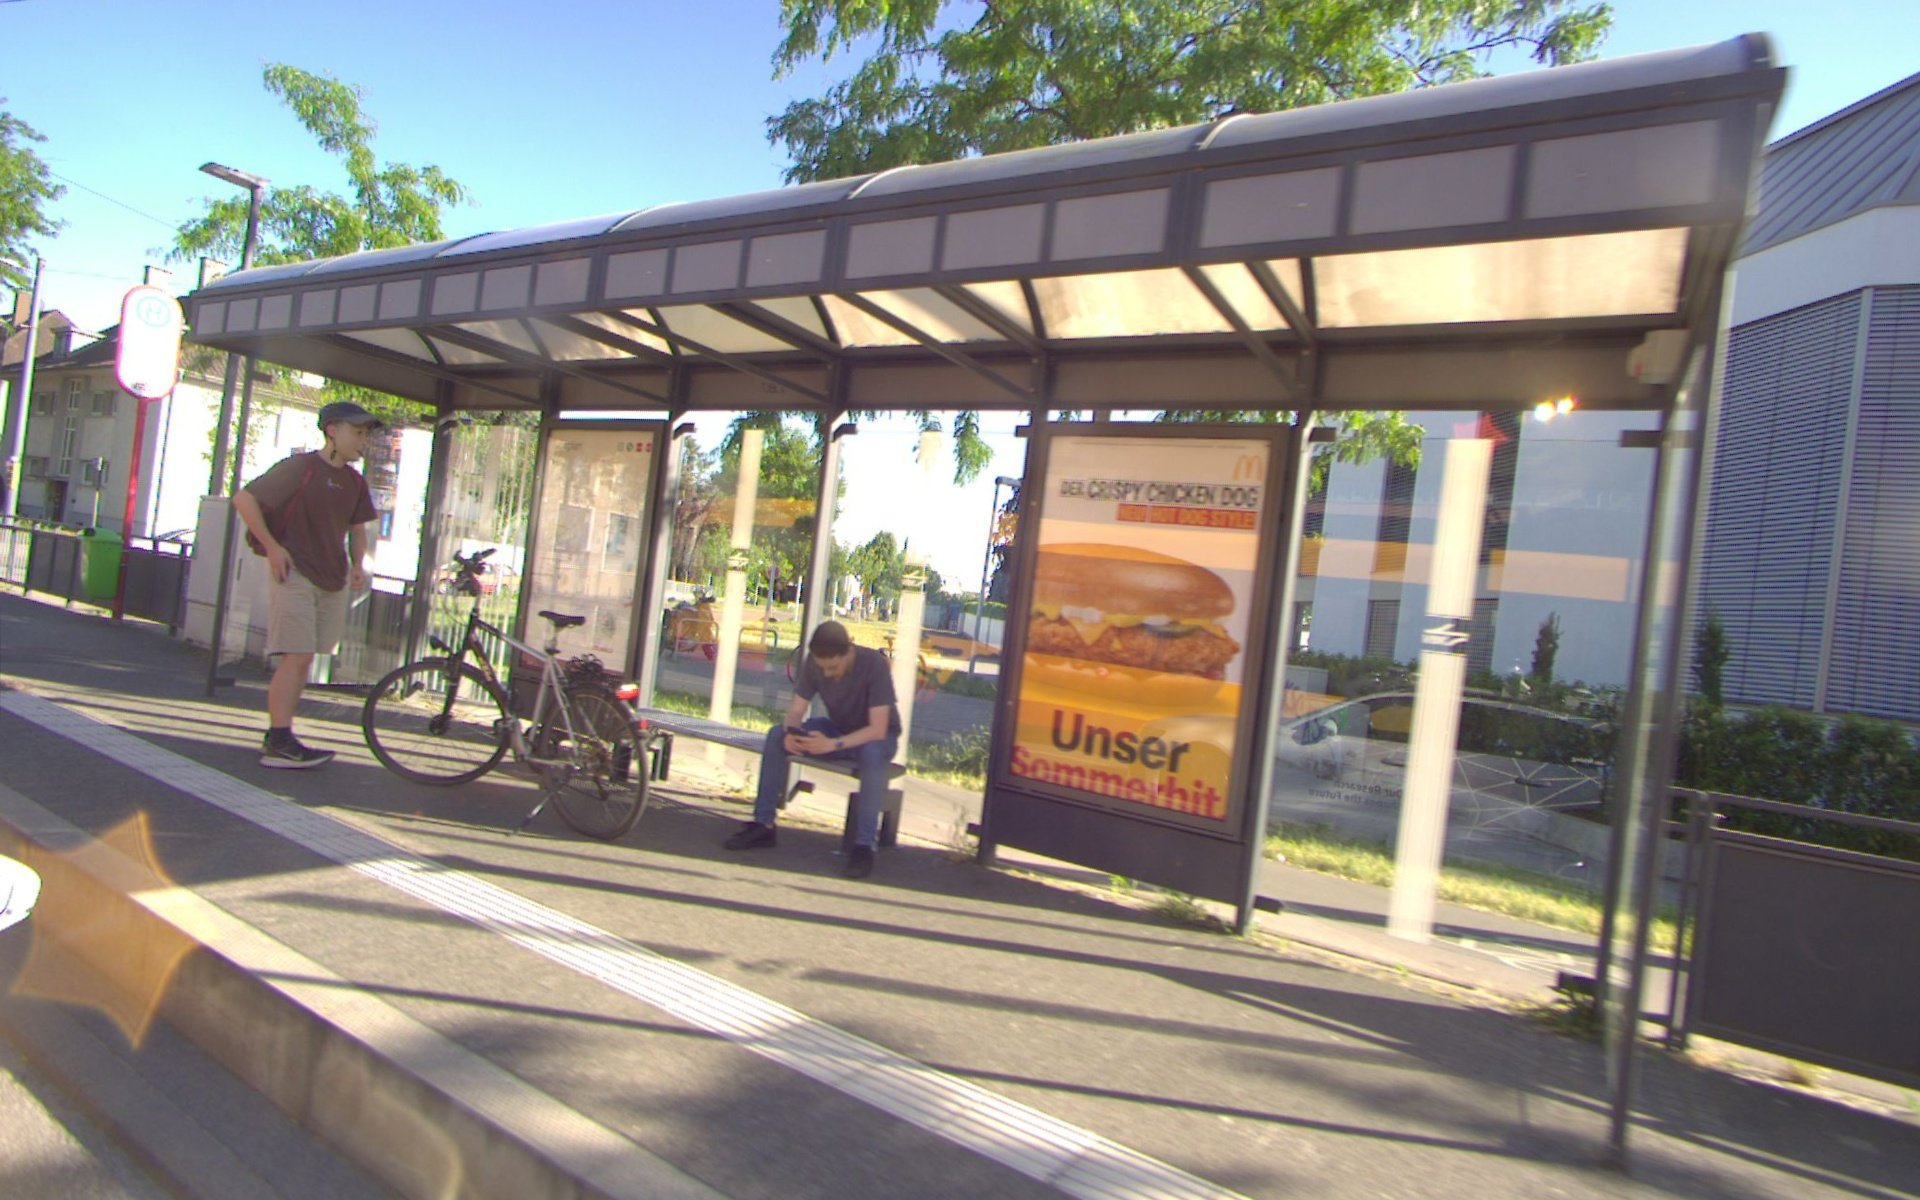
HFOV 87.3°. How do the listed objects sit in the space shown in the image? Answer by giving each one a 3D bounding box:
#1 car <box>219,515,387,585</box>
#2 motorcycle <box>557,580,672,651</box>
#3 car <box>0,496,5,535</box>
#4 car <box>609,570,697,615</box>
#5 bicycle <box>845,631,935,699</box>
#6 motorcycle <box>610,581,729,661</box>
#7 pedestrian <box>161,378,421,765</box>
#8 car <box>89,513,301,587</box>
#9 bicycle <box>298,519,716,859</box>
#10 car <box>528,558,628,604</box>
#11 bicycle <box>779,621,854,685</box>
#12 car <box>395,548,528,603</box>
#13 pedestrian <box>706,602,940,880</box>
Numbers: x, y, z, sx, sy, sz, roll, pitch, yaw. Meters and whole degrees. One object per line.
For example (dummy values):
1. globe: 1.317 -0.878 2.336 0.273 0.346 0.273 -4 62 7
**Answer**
1. car: -21.886 -1.627 33.696 1.948 1.661 4.172 7 -2 30
2. motorcycle: -6.647 0.332 19.471 0.847 1.171 2.004 7 -1 25
3. car: -26.644 -2.182 24.991 1.954 1.525 3.983 6 -2 41
4. car: -15.027 -0.349 49.468 1.963 1.591 4.005 8 -2 19
5. bicycle: -1.100 1.057 16.305 0.482 0.990 1.903 7 -1 25
6. motorcycle: -5.342 0.413 18.671 0.847 1.289 2.083 7 -1 25
7. pedestrian: -3.523 -0.135 5.320 0.717 1.875 0.712 7 -1 33
8. car: -22.163 -1.400 29.274 1.956 1.483 4.595 4 -3 43
9. bicycle: -2.179 0.349 4.760 1.932 1.244 0.621 7 -1 28
10. car: -16.876 -0.808 44.664 1.944 1.525 4.180 7 -2 14
11. bicycle: -2.403 0.908 17.007 0.408 0.990 1.474 7 -1 25
12. car: -19.234 -0.923 38.976 1.947 1.525 4.175 7 -2 26
13. pedestrian: -0.633 0.645 4.792 0.647 1.130 0.740 7 -2 31
